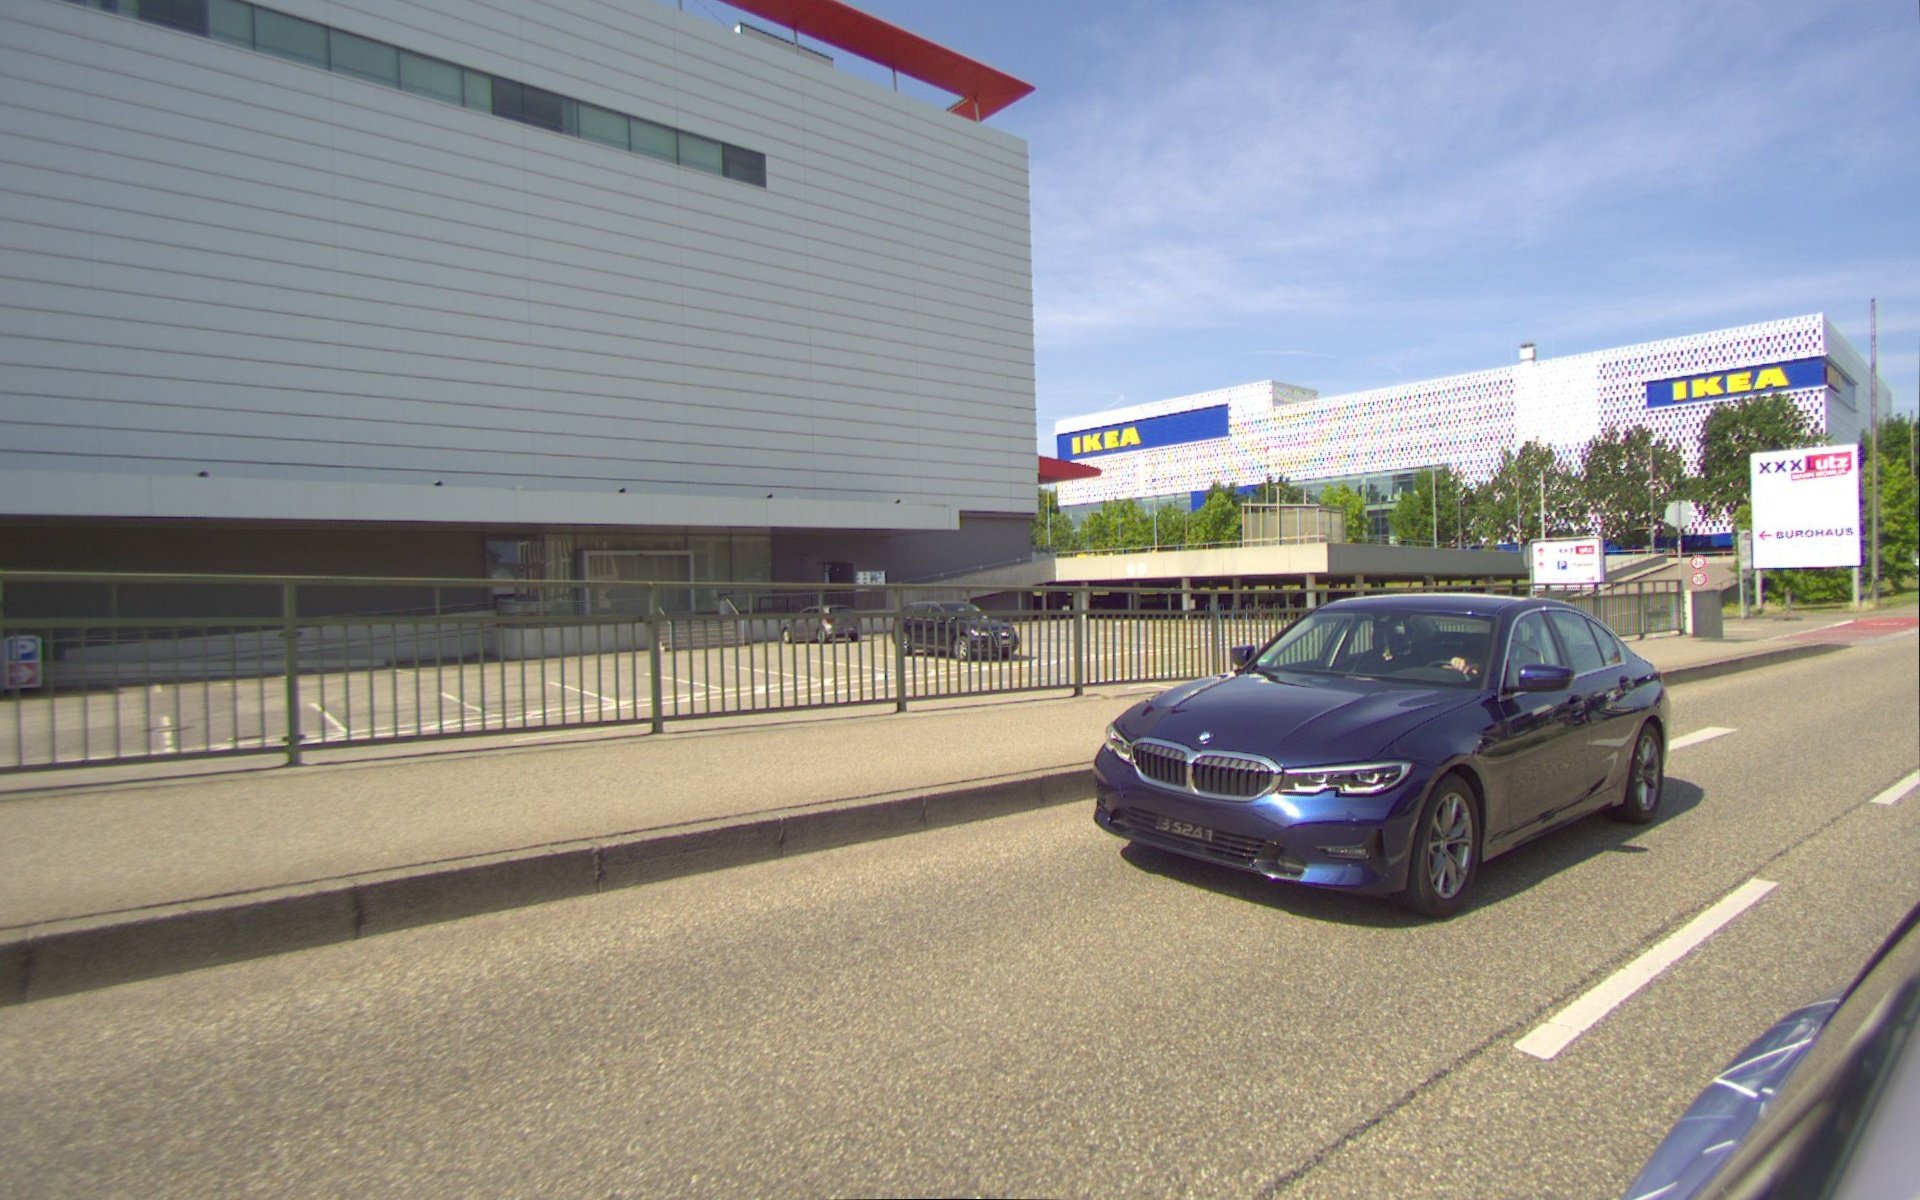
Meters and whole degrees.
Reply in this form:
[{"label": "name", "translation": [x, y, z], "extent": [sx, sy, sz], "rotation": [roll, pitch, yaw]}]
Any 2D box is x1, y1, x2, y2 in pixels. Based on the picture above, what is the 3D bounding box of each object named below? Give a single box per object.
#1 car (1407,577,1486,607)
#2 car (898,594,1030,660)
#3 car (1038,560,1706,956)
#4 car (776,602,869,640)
[{"label": "car", "translation": [31.830, -0.506, 66.323], "extent": [4.304, 1.857, 1.968], "rotation": [0, 0, 44]}, {"label": "car", "translation": [0.025, 0.752, 29.904], "extent": [1.826, 1.754, 4.421], "rotation": [-2, 0, -31]}, {"label": "car", "translation": [2.707, 0.567, 6.068], "extent": [4.440, 1.502, 1.791], "rotation": [-3, 1, -39]}, {"label": "car", "translation": [-5.396, 0.846, 39.526], "extent": [1.779, 1.393, 3.862], "rotation": [-1, -1, -41]}]
